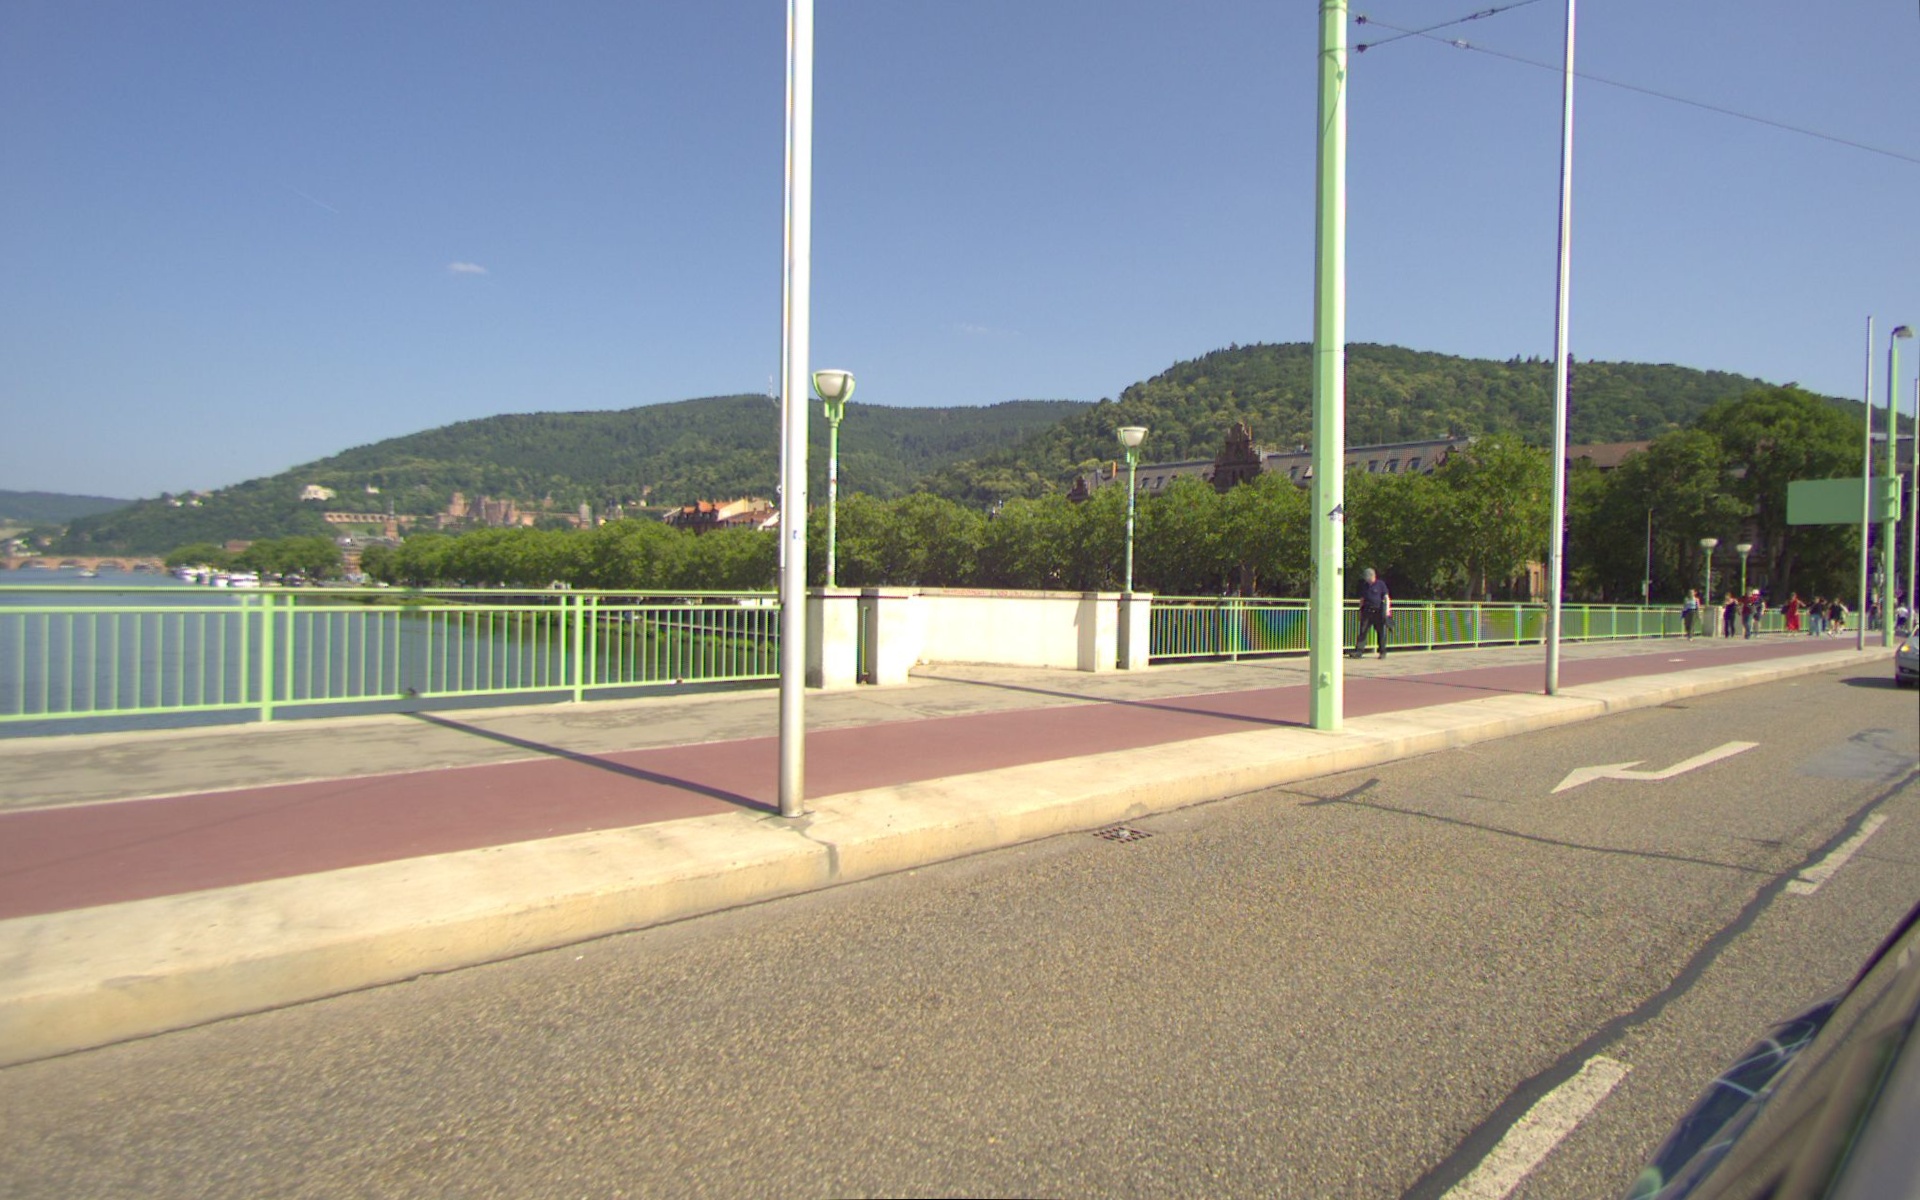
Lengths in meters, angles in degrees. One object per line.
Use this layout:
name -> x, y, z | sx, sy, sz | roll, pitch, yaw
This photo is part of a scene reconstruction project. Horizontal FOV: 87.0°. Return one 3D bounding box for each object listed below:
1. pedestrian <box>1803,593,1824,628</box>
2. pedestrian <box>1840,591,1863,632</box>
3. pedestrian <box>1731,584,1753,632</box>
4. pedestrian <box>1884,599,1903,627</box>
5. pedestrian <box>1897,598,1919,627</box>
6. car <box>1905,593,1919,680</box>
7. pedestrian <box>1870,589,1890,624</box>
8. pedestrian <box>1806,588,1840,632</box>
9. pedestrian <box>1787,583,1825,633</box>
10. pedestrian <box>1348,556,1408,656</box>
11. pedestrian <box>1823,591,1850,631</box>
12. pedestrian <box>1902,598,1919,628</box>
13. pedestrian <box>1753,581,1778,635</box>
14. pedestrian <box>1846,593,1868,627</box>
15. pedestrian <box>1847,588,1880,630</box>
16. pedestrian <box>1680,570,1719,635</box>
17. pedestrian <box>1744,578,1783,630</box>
pedestrian -> 40.445, 0.487, 47.938 | 0.679, 1.652, 0.651 | 1, -1, -40
pedestrian -> 36.856, 0.465, 41.840 | 0.654, 1.670, 0.854 | 2, 1, 43
pedestrian -> 27.352, 0.275, 35.382 | 0.523, 1.670, 0.688 | 2, 1, 43
pedestrian -> 57.163, 0.775, 61.964 | 0.798, 1.655, 0.935 | 2, 1, 41
pedestrian -> 54.940, 0.738, 58.581 | 0.985, 1.635, 0.907 | 2, 1, 44
car -> 19.033, 0.697, 18.952 | 1.797, 1.519, 4.428 | 3, 2, 42
pedestrian -> 54.127, 0.369, 59.551 | 0.803, 2.039, 0.939 | 2, 1, 44
pedestrian -> 36.600, 0.399, 42.902 | 0.985, 1.791, 1.234 | 3, 2, 43
pedestrian -> 33.835, 0.305, 40.468 | 0.923, 1.978, 1.016 | 0, 1, -43
pedestrian -> 7.587, 0.110, 18.374 | 0.655, 1.766, 0.963 | 2, -1, 44
pedestrian -> 38.184, 0.484, 44.094 | 0.834, 1.698, 0.872 | 2, 1, 43
pedestrian -> 56.423, 0.740, 60.086 | 0.695, 1.738, 0.720 | 2, 1, 44
pedestrian -> 27.840, 0.271, 34.984 | 0.585, 1.816, 0.622 | 2, 1, 44
pedestrian -> 43.105, 0.498, 48.631 | 0.679, 1.582, 0.651 | 2, 1, -40
pedestrian -> 38.848, 0.367, 43.510 | 0.985, 1.772, 0.915 | 2, 1, 44
pedestrian -> 23.719, 0.073, 32.456 | 0.874, 2.039, 1.042 | 2, 1, 44
pedestrian -> 30.615, 0.147, 38.552 | 0.985, 1.918, 1.234 | 2, 1, 45
